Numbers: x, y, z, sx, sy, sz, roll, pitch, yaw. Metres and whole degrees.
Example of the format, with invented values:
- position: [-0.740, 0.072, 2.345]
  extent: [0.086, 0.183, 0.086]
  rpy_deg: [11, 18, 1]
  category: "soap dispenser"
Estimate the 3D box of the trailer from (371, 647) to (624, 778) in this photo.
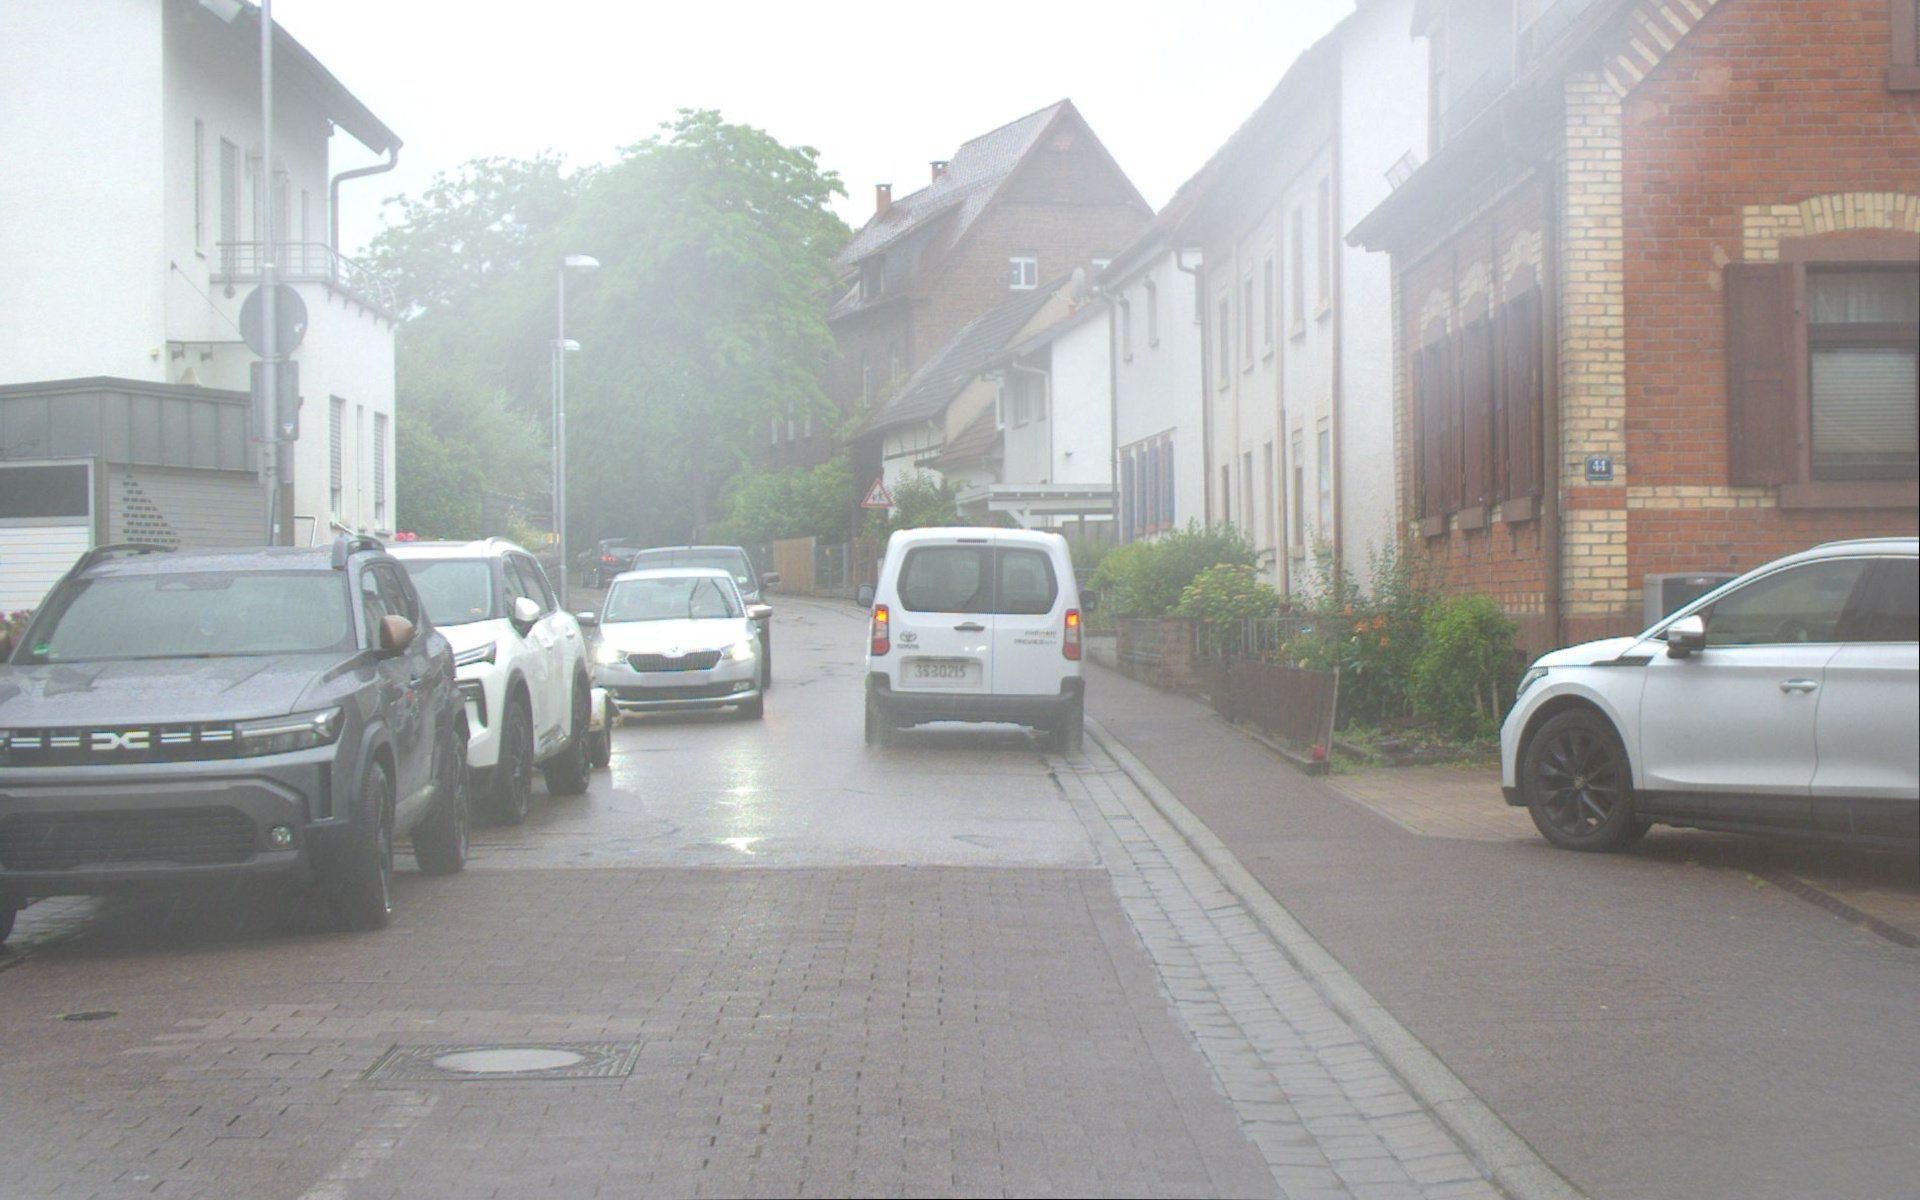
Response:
- position: [-3.325, 0.797, 25.074]
  extent: [1.483, 0.826, 2.676]
  rpy_deg: [-2, -1, -1]
  category: "trailer"

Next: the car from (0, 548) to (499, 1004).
- position: [-3.256, 0.680, 15.835]
  extent: [1.812, 1.773, 4.018]
  rpy_deg: [-1, 1, -2]
  category: "car"

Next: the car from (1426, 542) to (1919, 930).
- position: [4.455, 0.602, 16.295]
  extent: [1.871, 1.584, 4.620]
  rpy_deg: [0, 3, -32]
  category: "car"

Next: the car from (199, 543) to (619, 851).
- position: [-3.289, 0.542, 21.355]
  extent: [1.748, 1.631, 4.418]
  rpy_deg: [-3, 0, 1]
  category: "car"

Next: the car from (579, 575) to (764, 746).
- position: [-2.864, 0.598, 33.953]
  extent: [1.688, 1.559, 3.934]
  rpy_deg: [-1, -1, -5]
  category: "car"

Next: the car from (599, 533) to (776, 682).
- position: [-3.304, 0.038, 42.067]
  extent: [1.993, 1.672, 4.784]
  rpy_deg: [-1, 1, -4]
  category: "car"

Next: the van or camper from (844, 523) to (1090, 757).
- position: [0.041, 0.290, 29.215]
  extent: [1.943, 1.845, 4.000]
  rpy_deg: [0, 1, 0]
  category: "van or camper"
